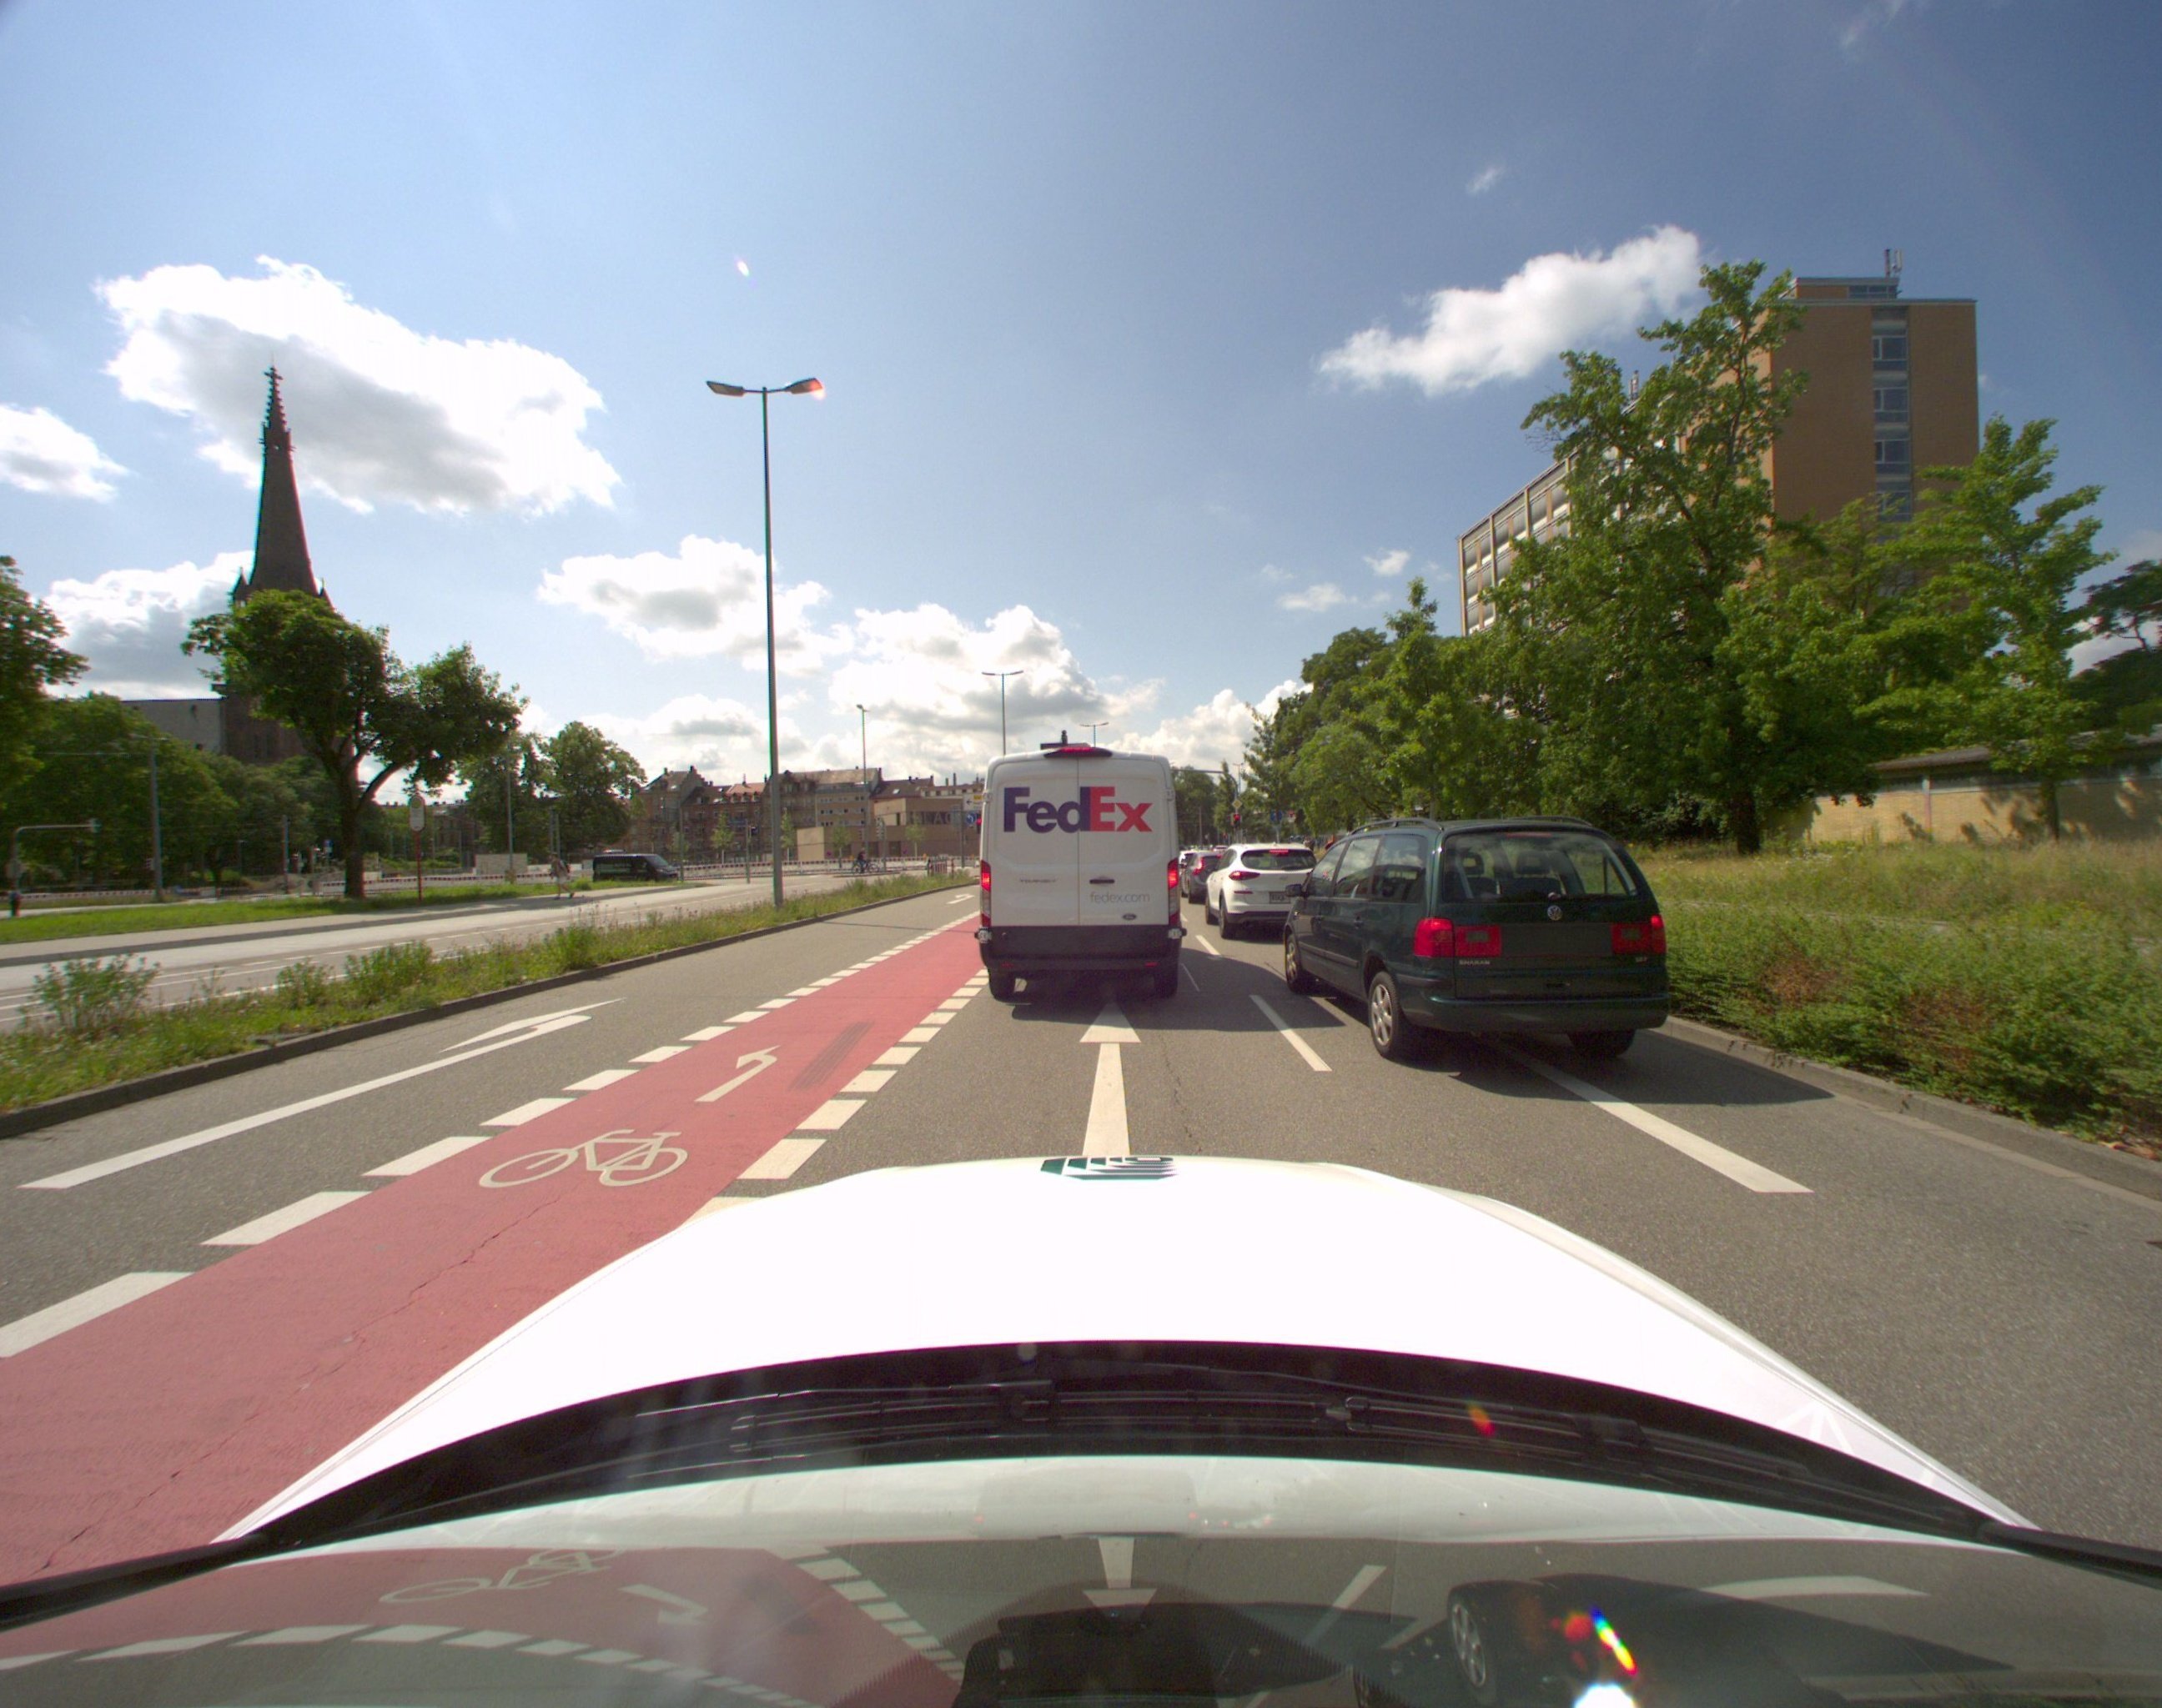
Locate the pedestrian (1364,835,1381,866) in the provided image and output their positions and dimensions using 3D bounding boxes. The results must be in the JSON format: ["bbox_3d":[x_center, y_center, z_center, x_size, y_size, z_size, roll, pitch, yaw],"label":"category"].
[{"bbox_3d":[19.905,-0.241,55.598,0.739,2.058,0.843,-2,0,-15],"label":"pedestrian"}]

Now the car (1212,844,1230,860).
[{"bbox_3d":[16.435,-0.182,95.682,1.981,1.794,4.384,-2,0,10],"label":"car"}]

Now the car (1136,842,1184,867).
[{"bbox_3d":[6.786,0.049,69.501,2.072,2.013,4.673,-2,-1,33],"label":"car"}]

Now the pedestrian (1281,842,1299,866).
[{"bbox_3d":[12.411,-0.023,48.430,0.842,1.389,0.741,-2,0,1],"label":"pedestrian"}]

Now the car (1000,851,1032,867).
[{"bbox_3d":[-6.729,0.518,84.817,1.886,1.585,4.017,-2,0,16],"label":"car"}]

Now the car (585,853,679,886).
[{"bbox_3d":[-29.274,0.994,53.225,4.995,1.879,1.928,-2,1,-2],"label":"car"}]

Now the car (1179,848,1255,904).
[{"bbox_3d":[3.907,0.575,23.915,1.790,1.461,3.842,-2,0,4],"label":"car"}]

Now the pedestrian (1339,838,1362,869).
[{"bbox_3d":[13.826,-0.034,41.807,0.842,1.539,0.835,-2,0,1],"label":"pedestrian"}]

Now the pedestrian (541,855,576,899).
[{"bbox_3d":[-18.859,0.826,29.387,0.548,1.560,0.881,-2,0,34],"label":"pedestrian"}]

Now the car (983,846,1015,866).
[{"bbox_3d":[-8.680,0.243,86.513,1.978,2.013,4.017,-2,0,16],"label":"car"}]

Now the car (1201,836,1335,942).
[{"bbox_3d":[3.332,0.553,15.237,1.790,1.687,4.004,-2,0,4],"label":"car"}]

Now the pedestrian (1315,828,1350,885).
[{"bbox_3d":[8.672,0.077,28.112,0.947,1.892,0.774,-2,0,1],"label":"pedestrian"}]

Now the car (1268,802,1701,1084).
[{"bbox_3d":[3.019,0.538,7.280,1.805,1.734,4.390,-1,0,2],"label":"car"}]

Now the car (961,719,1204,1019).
[{"bbox_3d":[-0.084,0.125,10.167,2.135,2.652,5.699,-1,0,-2],"label":"car"}]

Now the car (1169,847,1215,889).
[{"bbox_3d":[4.131,0.491,30.646,1.478,1.428,3.436,-2,0,4],"label":"car"}]

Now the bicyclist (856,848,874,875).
[{"bbox_3d":[-15.078,0.544,56.837,1.117,1.844,0.592,-2,1,-6],"label":"bicyclist"}]

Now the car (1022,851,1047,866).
[{"bbox_3d":[-5.175,0.500,90.972,1.867,1.652,4.011,-2,0,10],"label":"car"}]

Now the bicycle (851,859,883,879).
[{"bbox_3d":[-14.951,1.020,56.849,2.062,1.290,0.603,-2,0,-6],"label":"bicycle"}]
